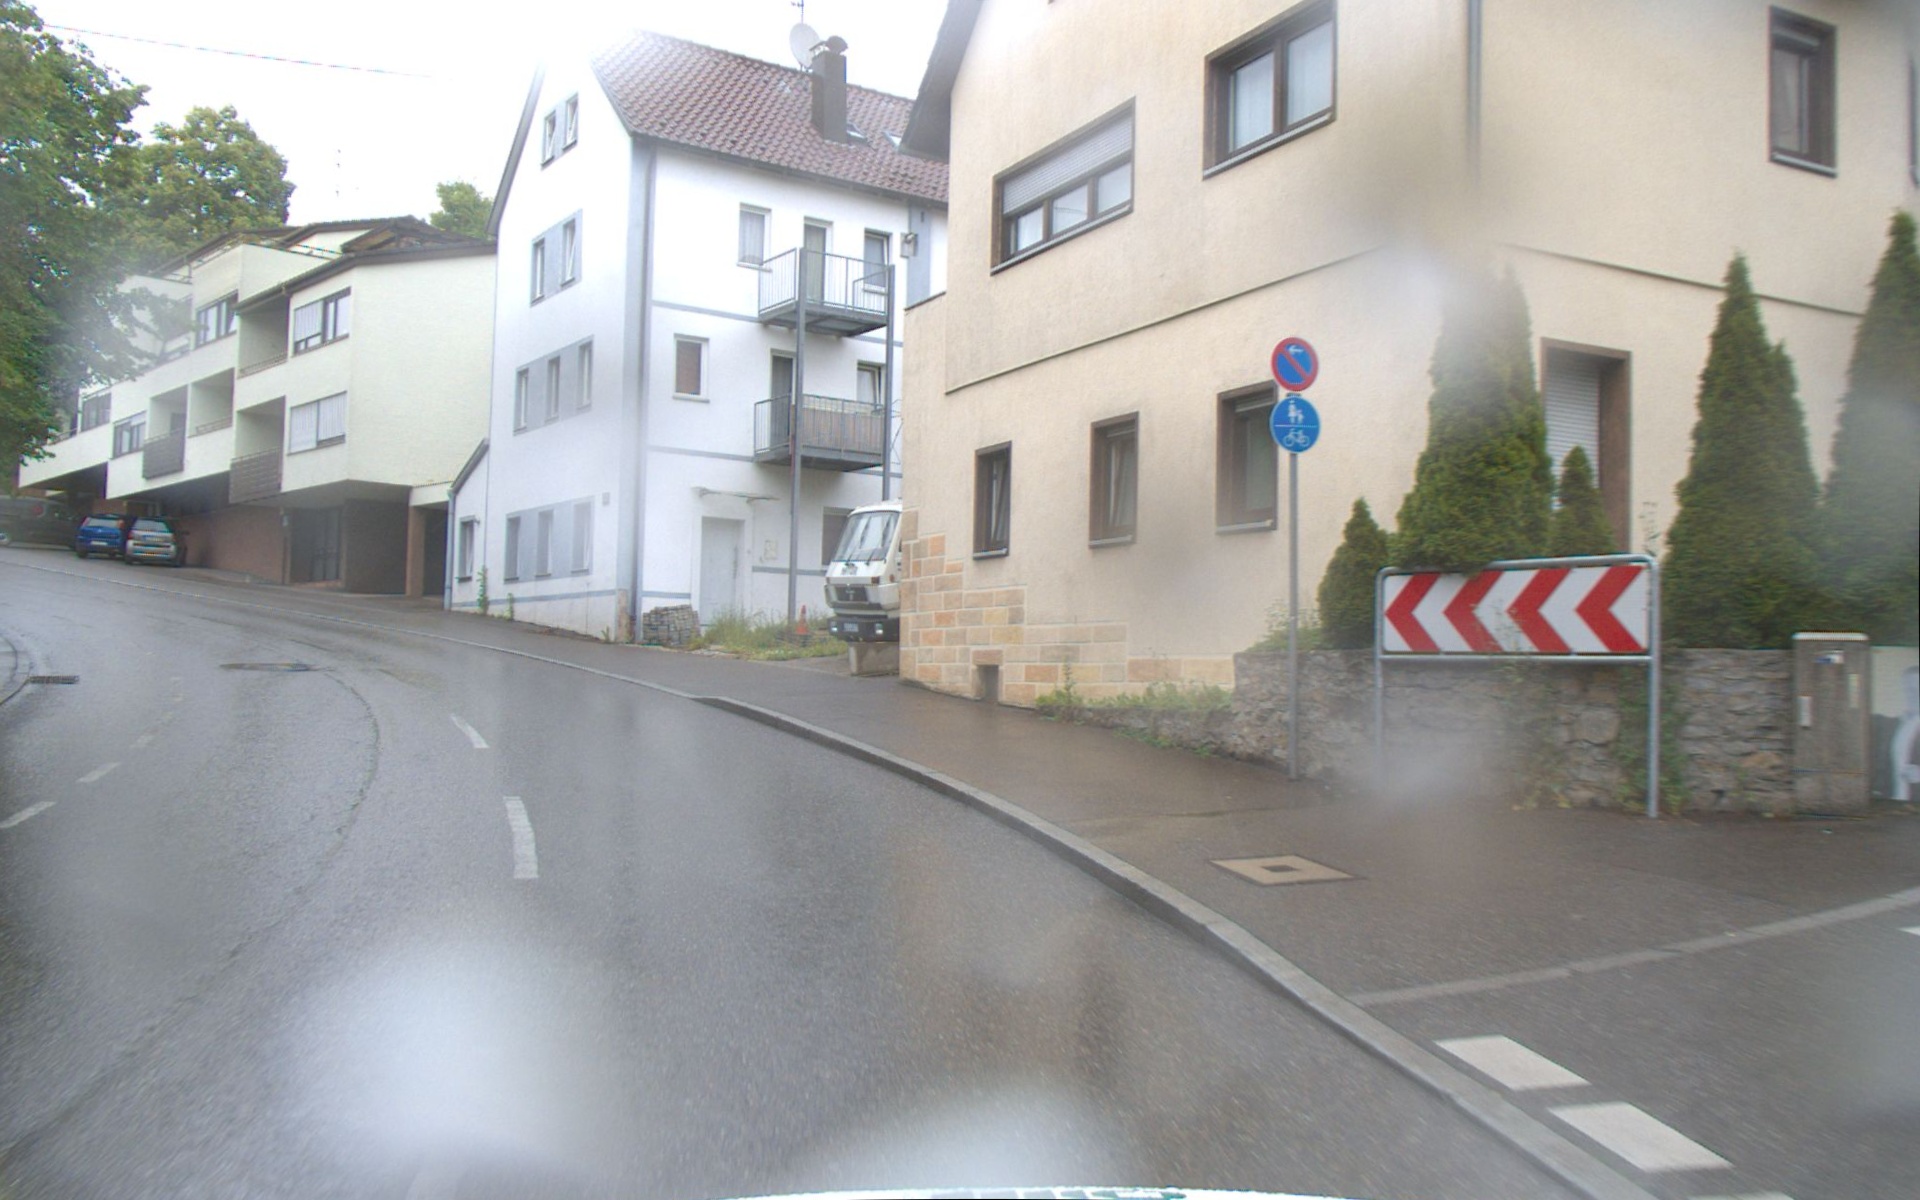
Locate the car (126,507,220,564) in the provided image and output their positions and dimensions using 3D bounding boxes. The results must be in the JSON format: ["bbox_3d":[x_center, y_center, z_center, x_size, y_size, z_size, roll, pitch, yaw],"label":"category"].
[{"bbox_3d":[-26.026,-2.100,54.843,1.751,1.605,4.054,7,0,-12],"label":"car"}]

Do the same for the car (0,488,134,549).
[{"bbox_3d":[-33.666,-3.055,61.669,1.967,1.851,4.690,6,2,44],"label":"car"}]

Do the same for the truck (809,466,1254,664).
[{"bbox_3d":[1.213,-0.620,25.641,6.886,2.749,2.119,-1,4,-31],"label":"truck"}]

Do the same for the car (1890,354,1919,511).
[{"bbox_3d":[19.686,-2.927,29.339,5.586,2.697,1.995,1,-1,-11],"label":"car"}]

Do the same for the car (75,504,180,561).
[{"bbox_3d":[-28.385,-2.286,56.520,1.749,1.605,4.061,7,0,-7],"label":"car"}]
